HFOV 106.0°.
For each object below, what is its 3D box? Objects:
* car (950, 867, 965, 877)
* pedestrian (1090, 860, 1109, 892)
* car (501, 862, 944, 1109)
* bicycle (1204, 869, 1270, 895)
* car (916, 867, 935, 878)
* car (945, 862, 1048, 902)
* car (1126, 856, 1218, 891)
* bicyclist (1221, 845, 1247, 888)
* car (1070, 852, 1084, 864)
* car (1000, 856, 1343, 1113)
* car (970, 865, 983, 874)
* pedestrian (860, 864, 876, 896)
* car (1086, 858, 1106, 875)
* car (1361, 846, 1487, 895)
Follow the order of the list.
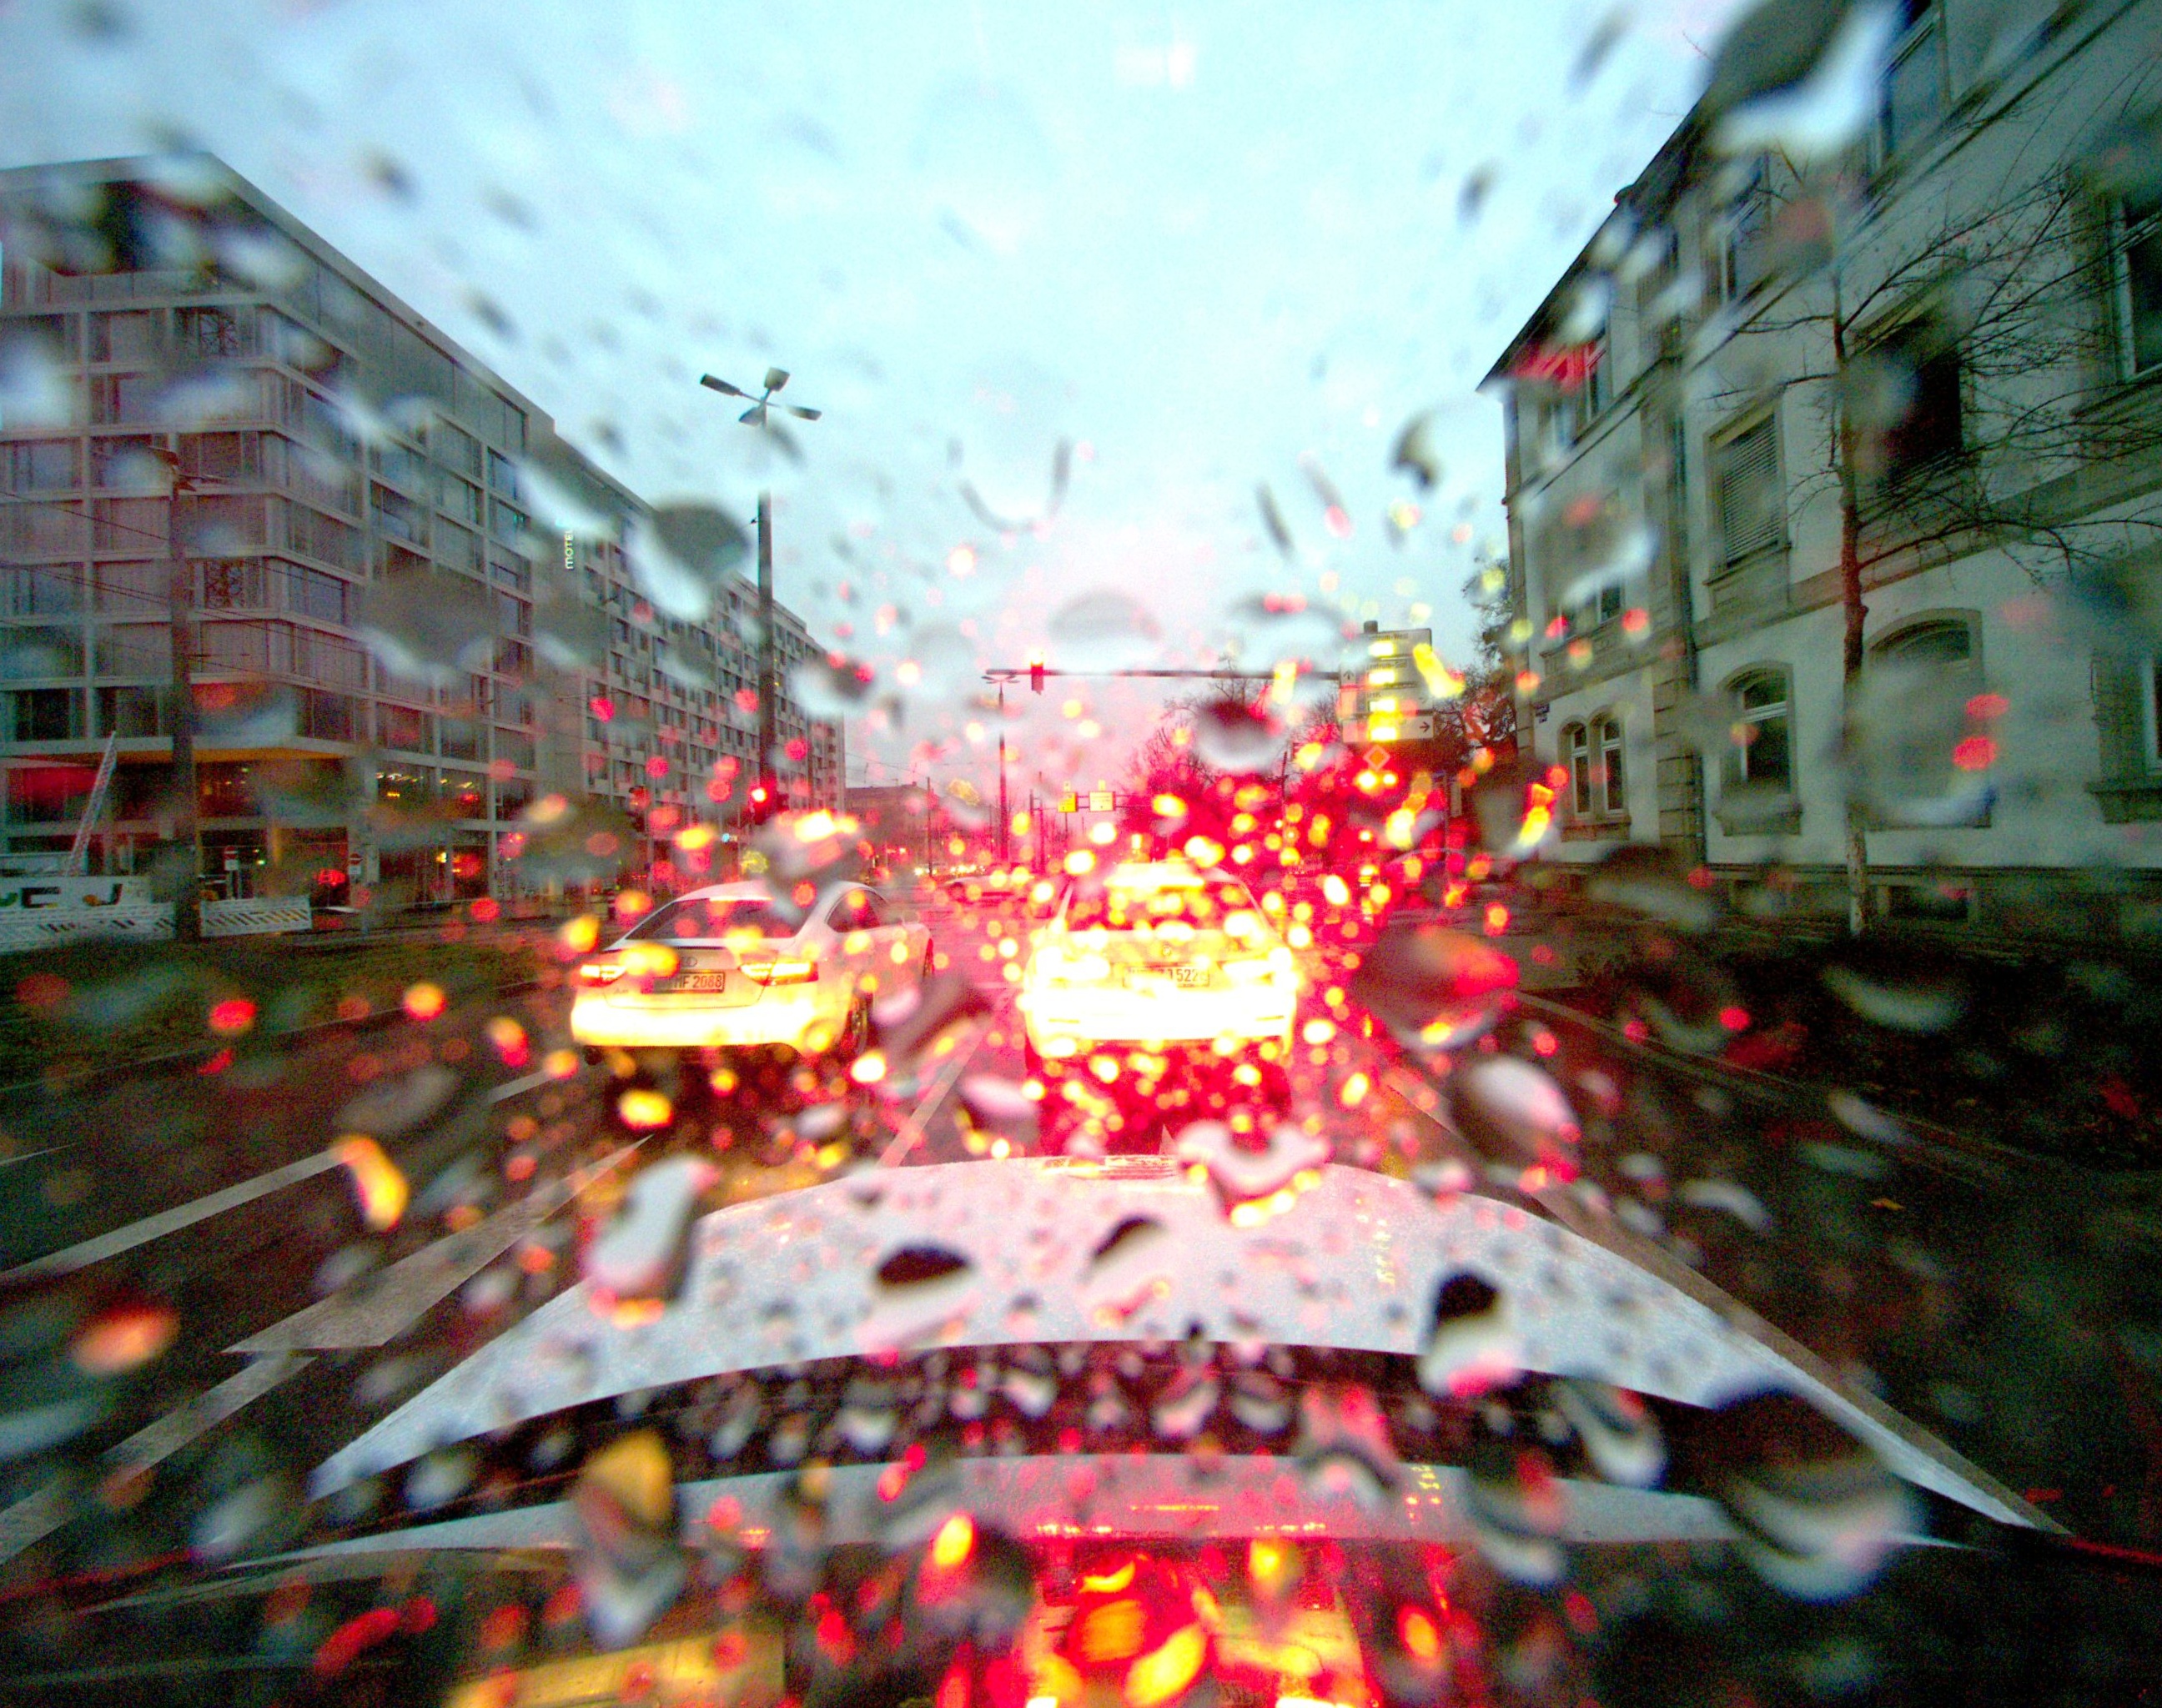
[{"bbox_3d":[-19.005,2.704,125.437,1.669,1.508,3.697,0,-1,1],"label":"car"},{"bbox_3d":[1.072,1.253,46.852,0.895,1.856,0.816,0,-1,19],"label":"pedestrian"},{"bbox_3d":[-2.589,0.832,7.242,1.987,1.456,4.367,-1,0,0],"label":"car"},{"bbox_3d":[6.535,1.160,34.088,2.646,1.089,0.818,0,-1,16],"label":"bicycle"},{"bbox_3d":[-20.030,2.377,104.896,1.669,1.508,3.697,0,-1,1],"label":"car"},{"bbox_3d":[-3.246,1.062,31.516,3.668,1.478,1.631,0,-1,6],"label":"car"},{"bbox_3d":[4.288,0.905,38.366,3.919,1.554,1.759,0,-1,24],"label":"car"},{"bbox_3d":[6.425,0.526,34.146,0.964,1.759,0.817,0,-1,17],"label":"bicyclist"},{"bbox_3d":[-0.573,0.553,114.110,1.837,1.609,3.944,0,-1,0],"label":"car"},{"bbox_3d":[0.534,0.763,6.949,1.987,1.456,4.367,-1,0,0],"label":"car"},{"bbox_3d":[-17.974,2.724,140.637,1.669,1.508,3.697,0,-1,1],"label":"car"},{"bbox_3d":[-11.710,1.424,44.794,0.791,1.712,0.809,0,-1,-13],"label":"pedestrian"},{"bbox_3d":[1.394,1.200,77.678,1.836,1.609,3.945,0,-1,1],"label":"car"},{"bbox_3d":[11.983,0.582,28.720,3.955,1.622,1.727,0,-1,17],"label":"car"}]
